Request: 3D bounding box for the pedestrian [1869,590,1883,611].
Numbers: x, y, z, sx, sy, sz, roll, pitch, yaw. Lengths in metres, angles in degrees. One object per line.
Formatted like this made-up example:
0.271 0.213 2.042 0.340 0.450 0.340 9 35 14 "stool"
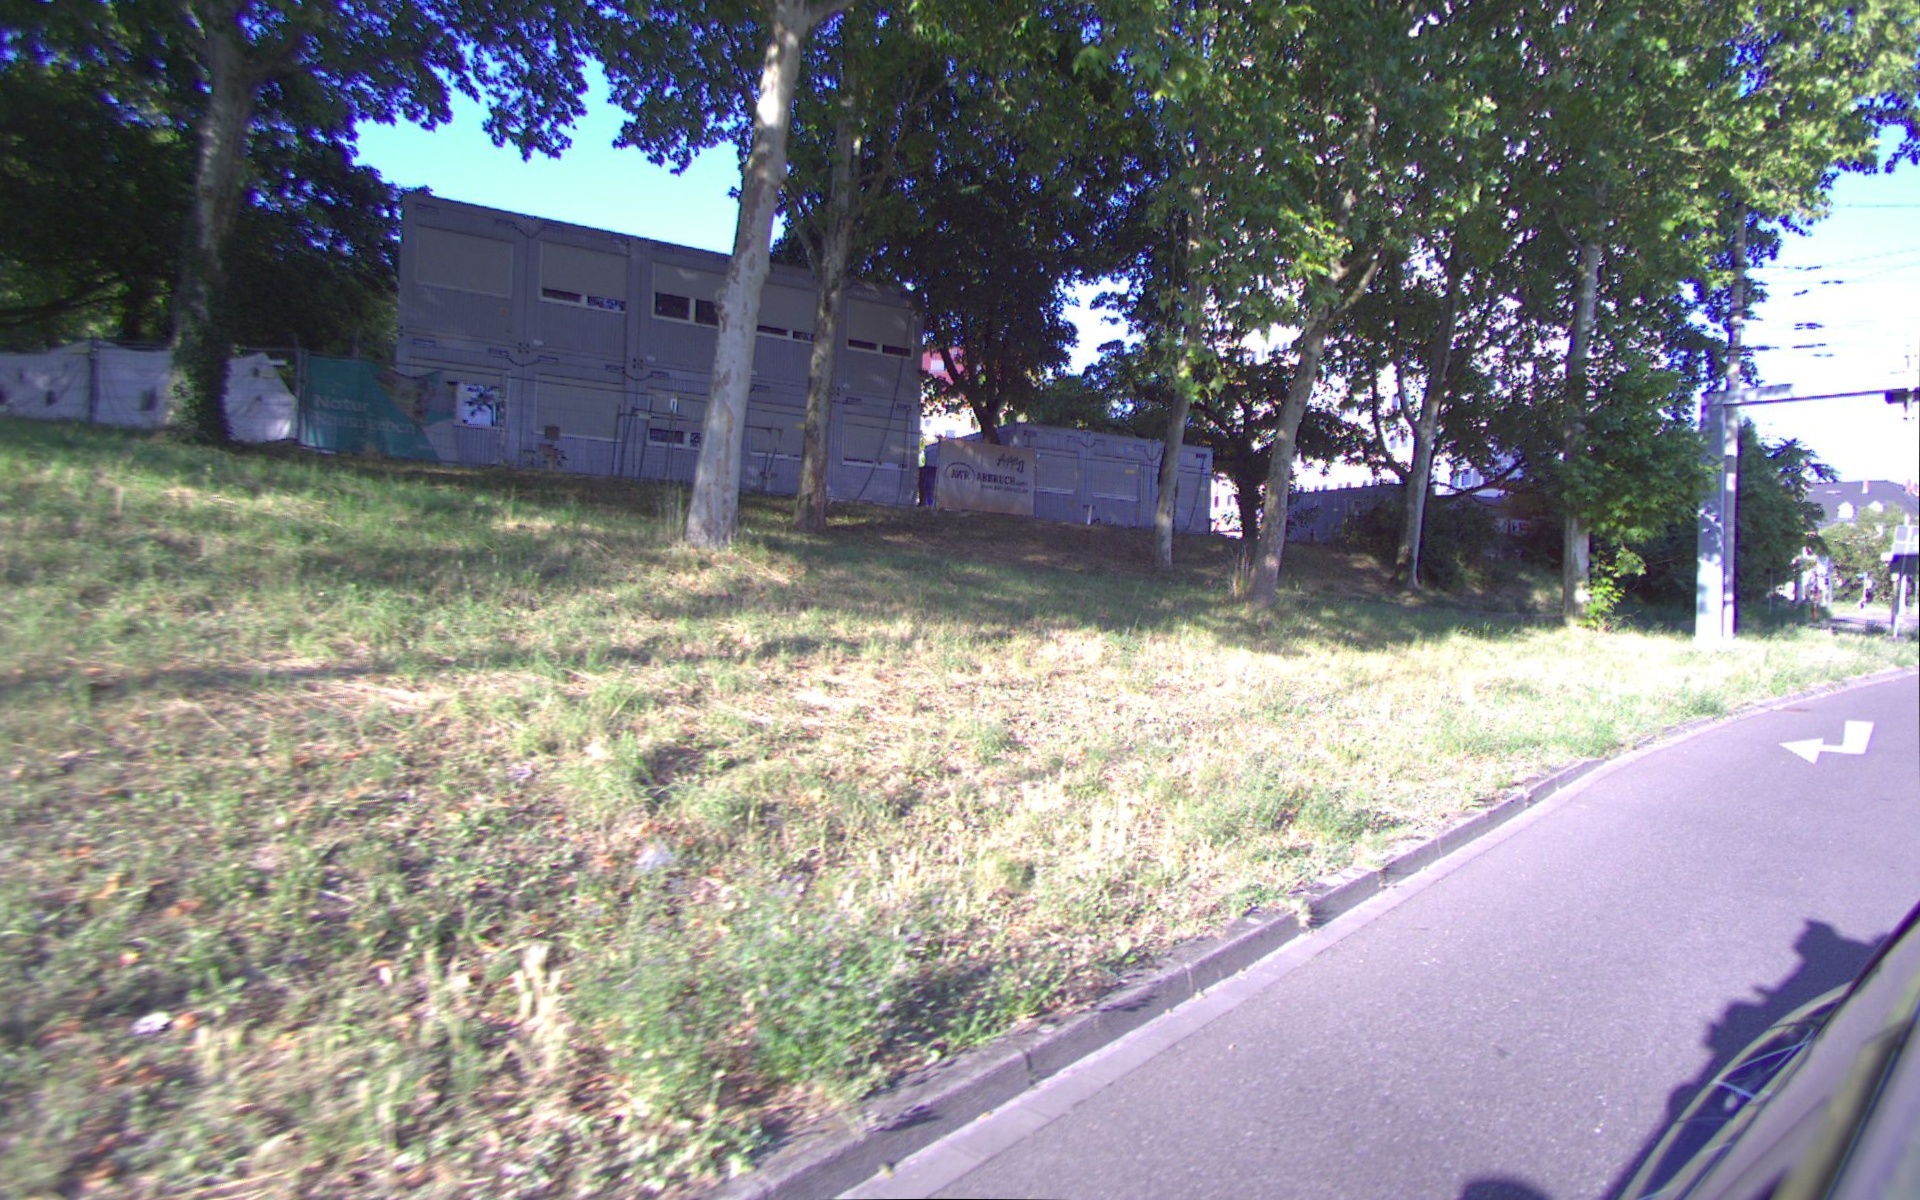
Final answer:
74.134 0.046 81.872 0.535 1.615 0.595 1 1 -11 "pedestrian"
